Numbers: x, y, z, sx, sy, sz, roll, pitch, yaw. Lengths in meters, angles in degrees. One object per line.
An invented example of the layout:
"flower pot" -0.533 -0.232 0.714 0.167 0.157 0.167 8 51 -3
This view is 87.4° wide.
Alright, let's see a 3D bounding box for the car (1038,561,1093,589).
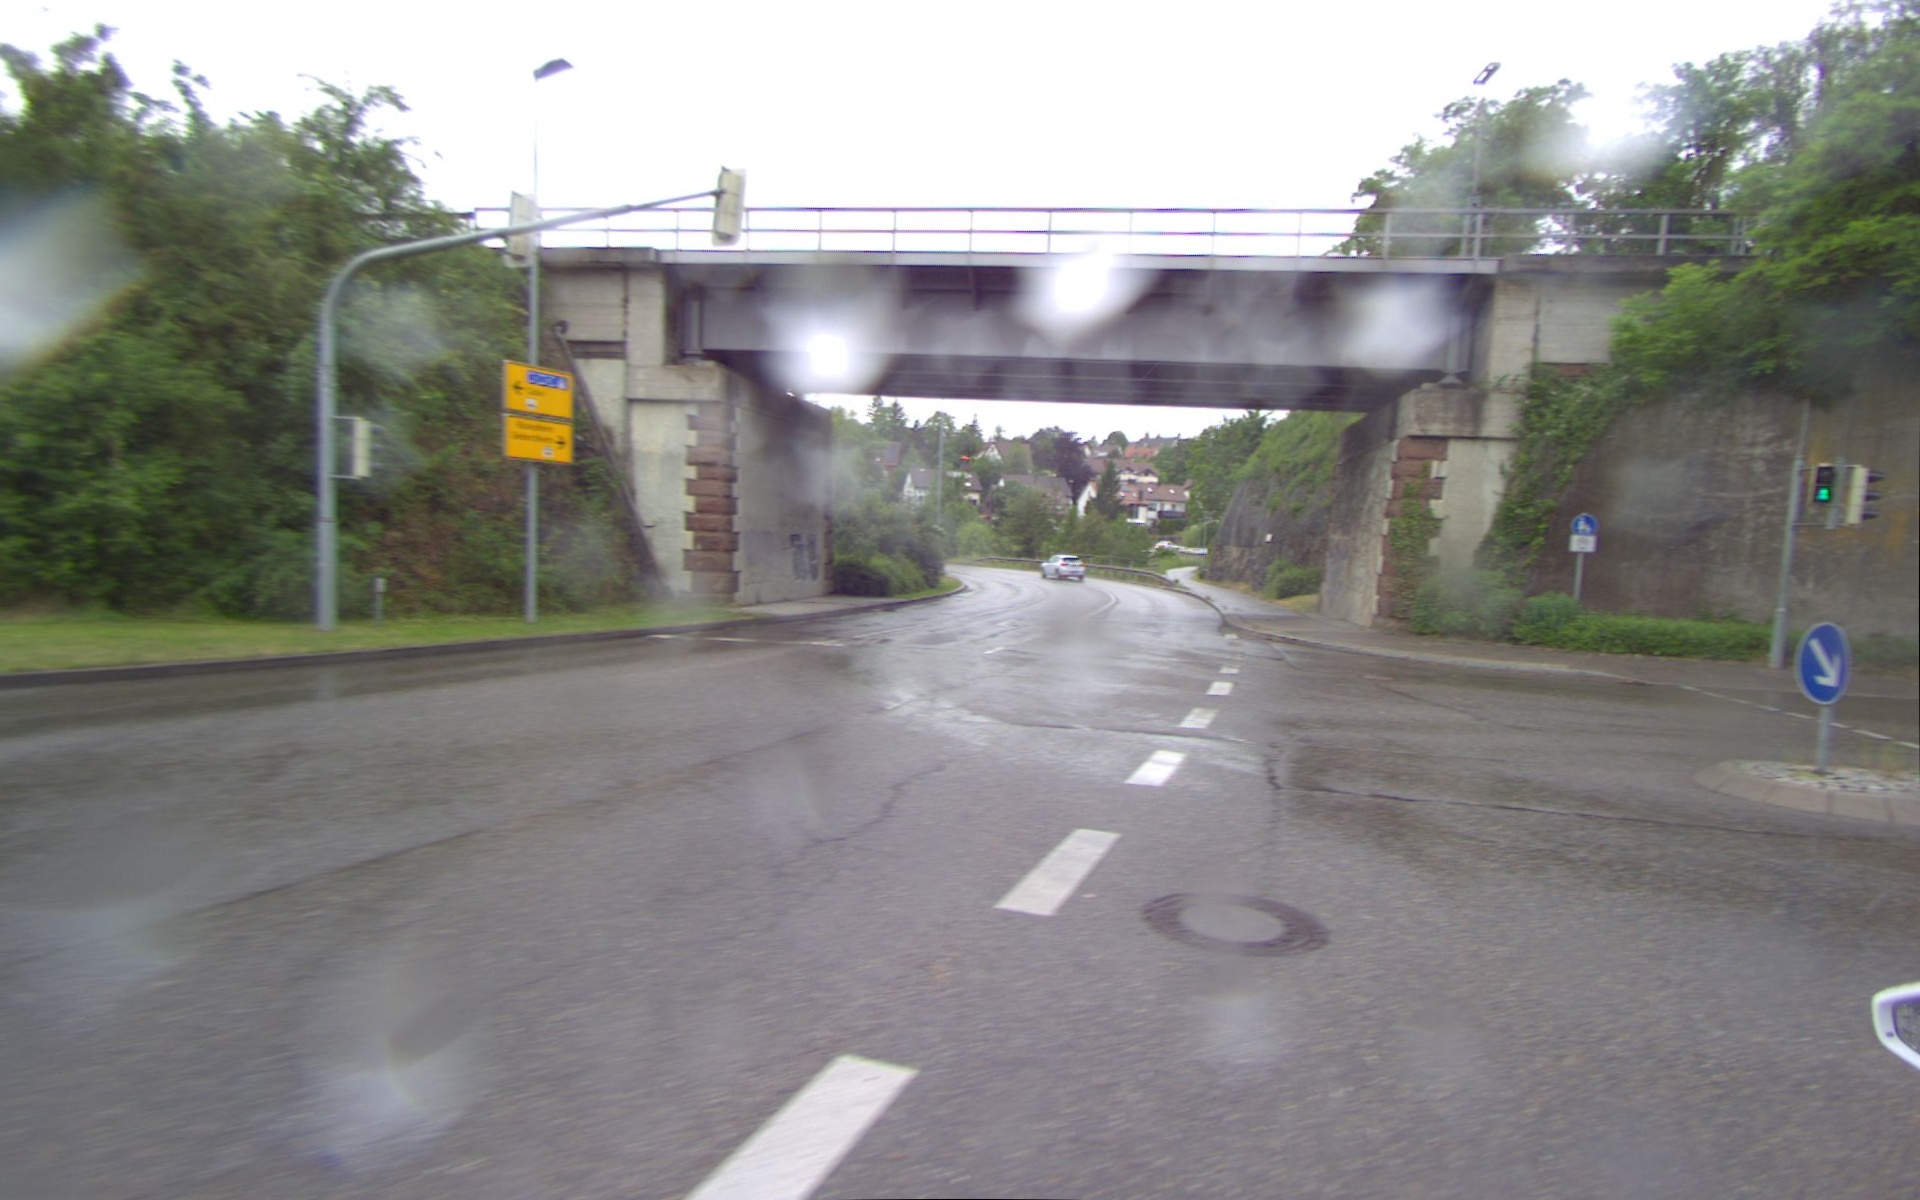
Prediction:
"car" 6.400 -1.519 61.449 1.968 1.583 3.985 1 1 -17
